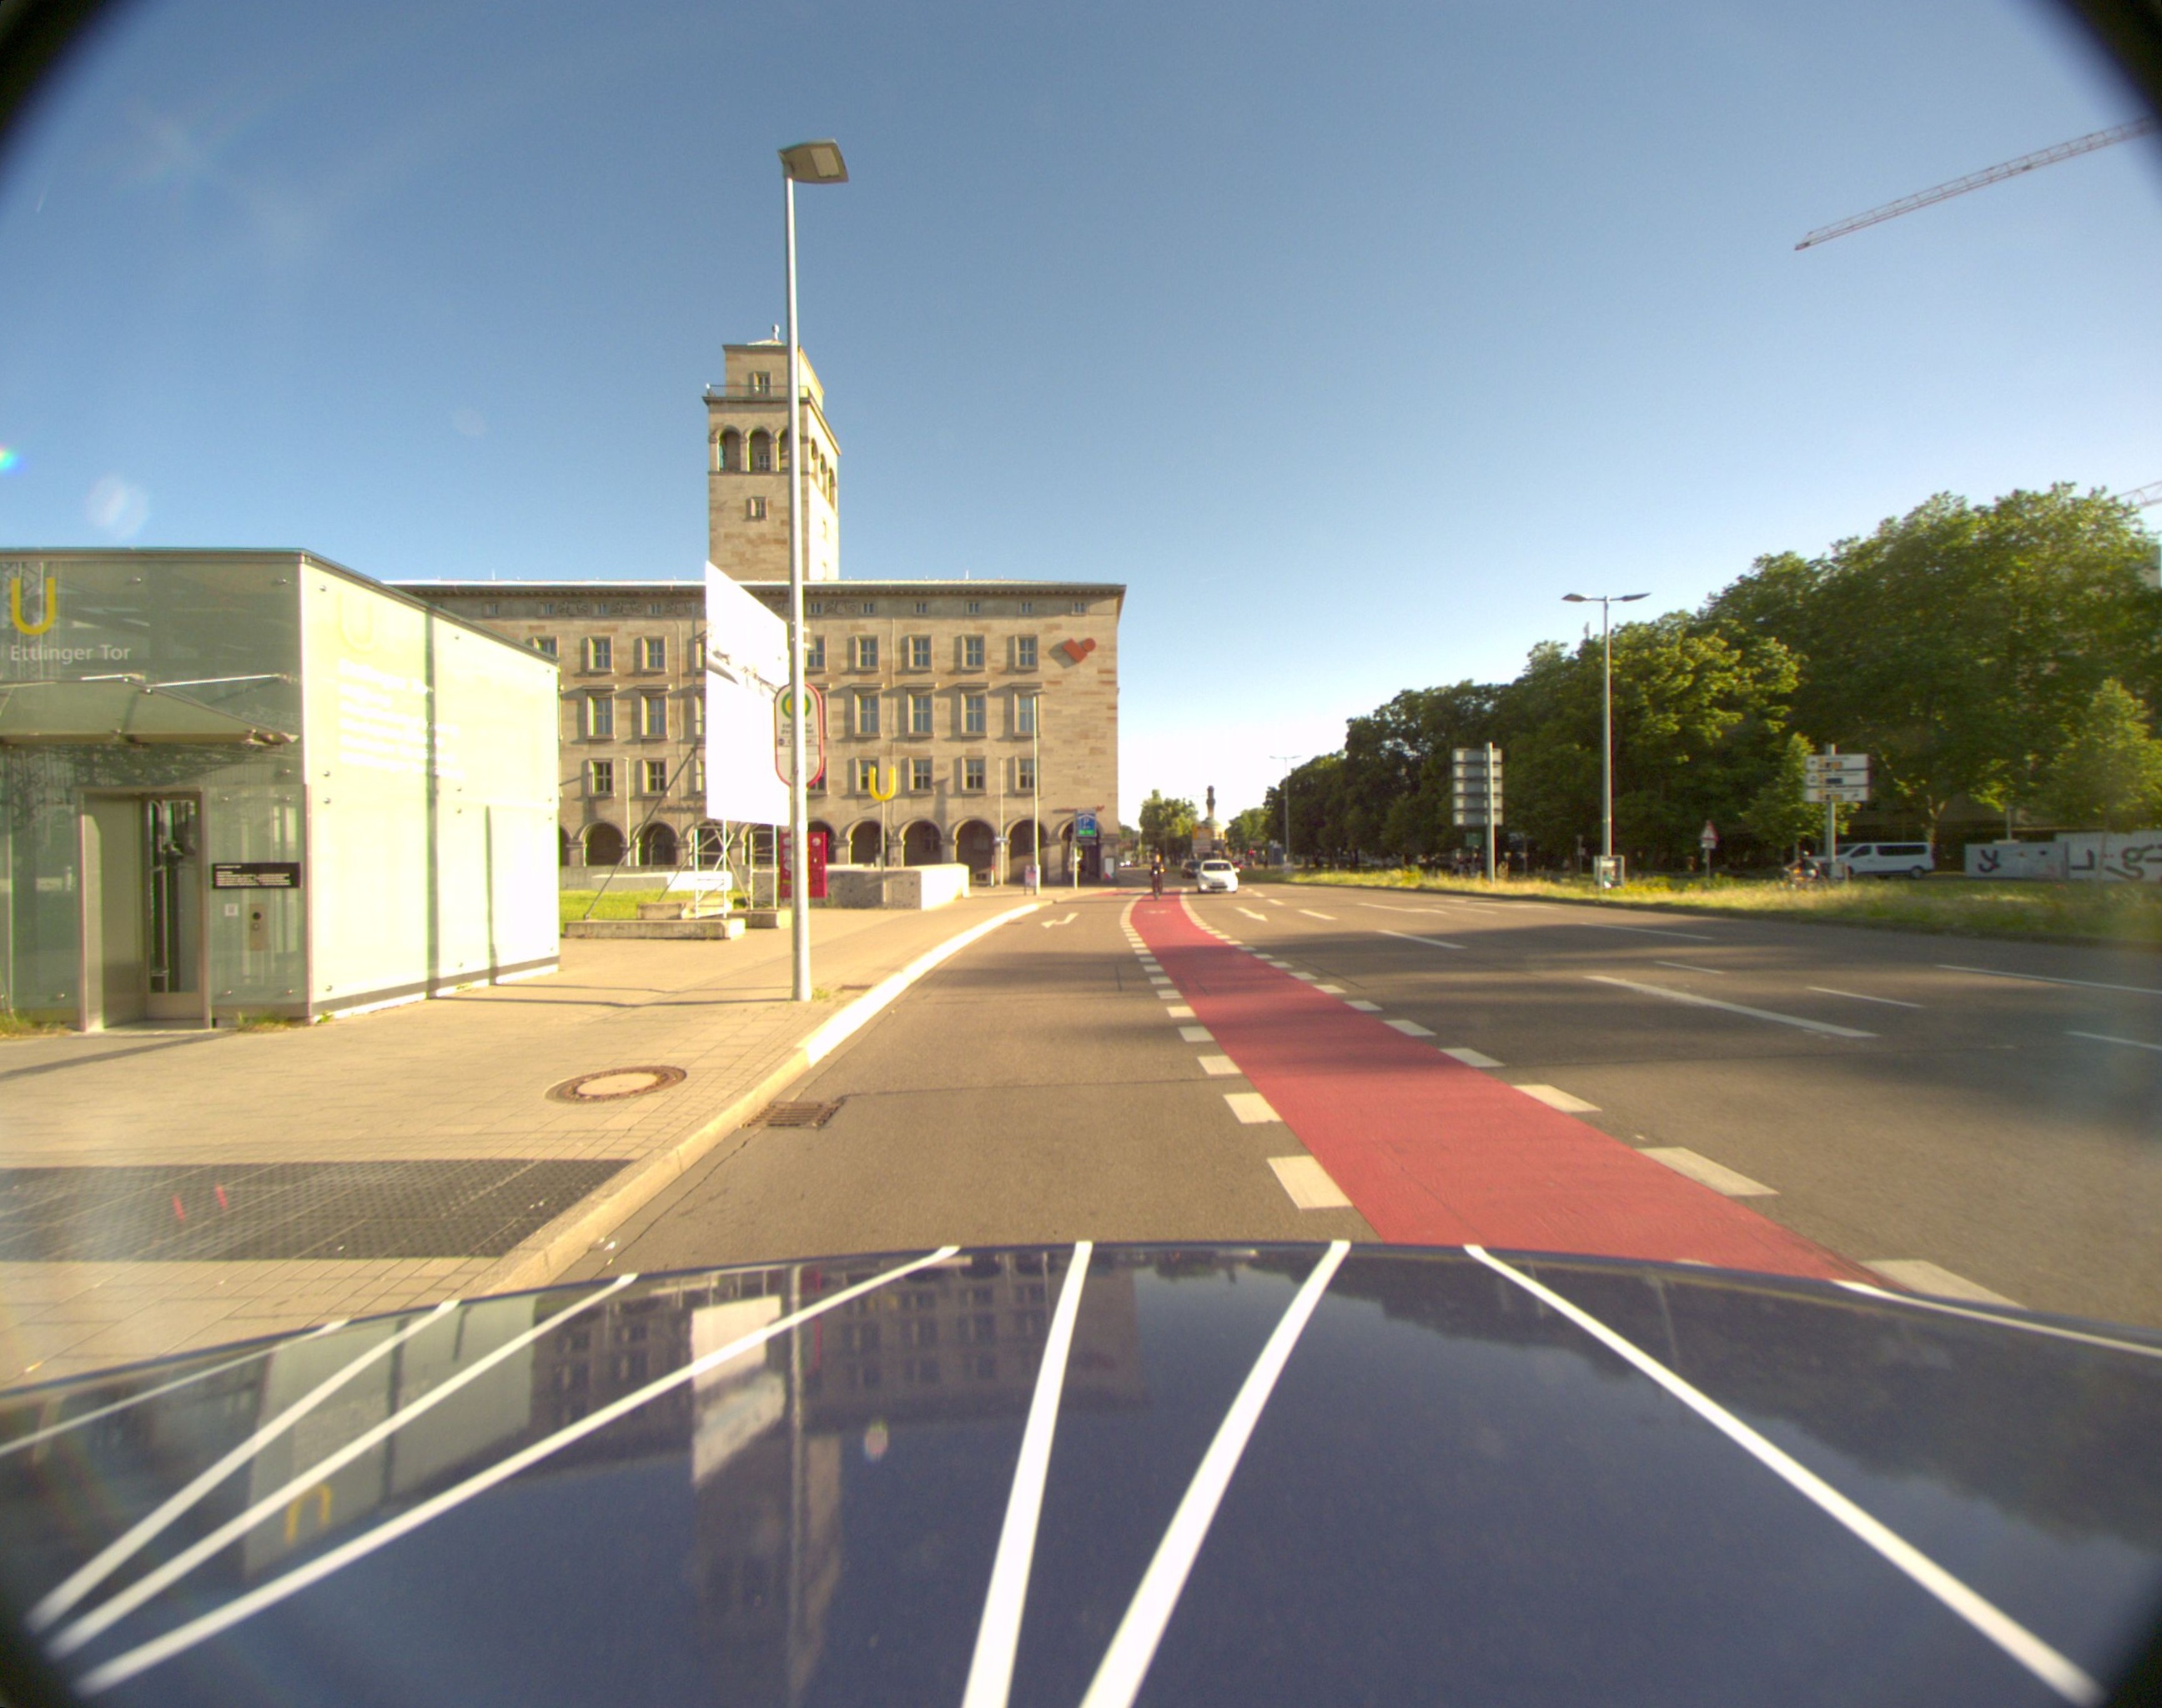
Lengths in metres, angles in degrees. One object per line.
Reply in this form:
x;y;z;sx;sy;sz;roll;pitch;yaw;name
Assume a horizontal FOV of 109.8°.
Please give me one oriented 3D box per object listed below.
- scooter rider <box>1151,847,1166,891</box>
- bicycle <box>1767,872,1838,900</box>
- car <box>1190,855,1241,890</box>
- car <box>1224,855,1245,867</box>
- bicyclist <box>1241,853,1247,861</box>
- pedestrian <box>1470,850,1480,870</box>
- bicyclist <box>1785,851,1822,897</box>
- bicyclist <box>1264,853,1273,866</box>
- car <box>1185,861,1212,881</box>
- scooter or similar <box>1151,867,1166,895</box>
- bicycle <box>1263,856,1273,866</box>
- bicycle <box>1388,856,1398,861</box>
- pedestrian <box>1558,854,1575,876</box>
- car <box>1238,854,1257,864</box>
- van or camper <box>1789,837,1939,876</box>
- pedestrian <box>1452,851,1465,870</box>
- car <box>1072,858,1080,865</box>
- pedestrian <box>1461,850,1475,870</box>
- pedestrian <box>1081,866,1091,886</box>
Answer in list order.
2.933;0.563;28.876;0.562;1.622;0.650;0;1;5;scooter rider
23.895;1.039;25.211;0.613;0.856;1.951;-1;0;5;bicycle
6.053;0.801;34.586;1.678;1.455;3.765;-2;0;1;car
20.682;0.970;102.460;1.999;1.555;4.060;0;0;-1;car
30.723;0.594;143.183;0.850;1.610;0.974;0;1;28;bicyclist
33.503;0.490;64.557;0.525;1.730;0.655;0;0;3;pedestrian
23.881;0.648;25.119;0.608;1.480;0.681;-1;0;5;bicyclist
23.796;0.645;96.501;0.749;1.581;1.201;0;2;-1;bicyclist
10.467;1.527;67.883;1.733;1.629;4.000;-2;0;0;car
2.946;1.012;28.963;0.556;1.025;1.118;0;0;4;scooter or similar
23.792;0.875;96.691;0.760;1.268;2.257;0;2;-2;bicycle
54.145;0.841;131.835;0.770;0.884;1.604;0;0;-9;bicycle
33.817;0.742;52.900;0.614;1.518;0.943;0;0;5;pedestrian
25.256;0.748;115.405;1.938;1.517;4.587;-1;0;0;car
42.030;0.101;40.905;5.677;2.002;2.257;0;2;1;van or camper
32.067;0.526;64.565;0.744;1.631;0.726;0;0;3;pedestrian
-1.190;1.756;185.092;1.999;1.564;4.549;0;0;-1;car
32.891;0.509;64.557;0.773;1.730;0.761;0;0;3;pedestrian
0.421;1.759;61.553;0.778;1.560;0.952;0;0;-3;pedestrian
